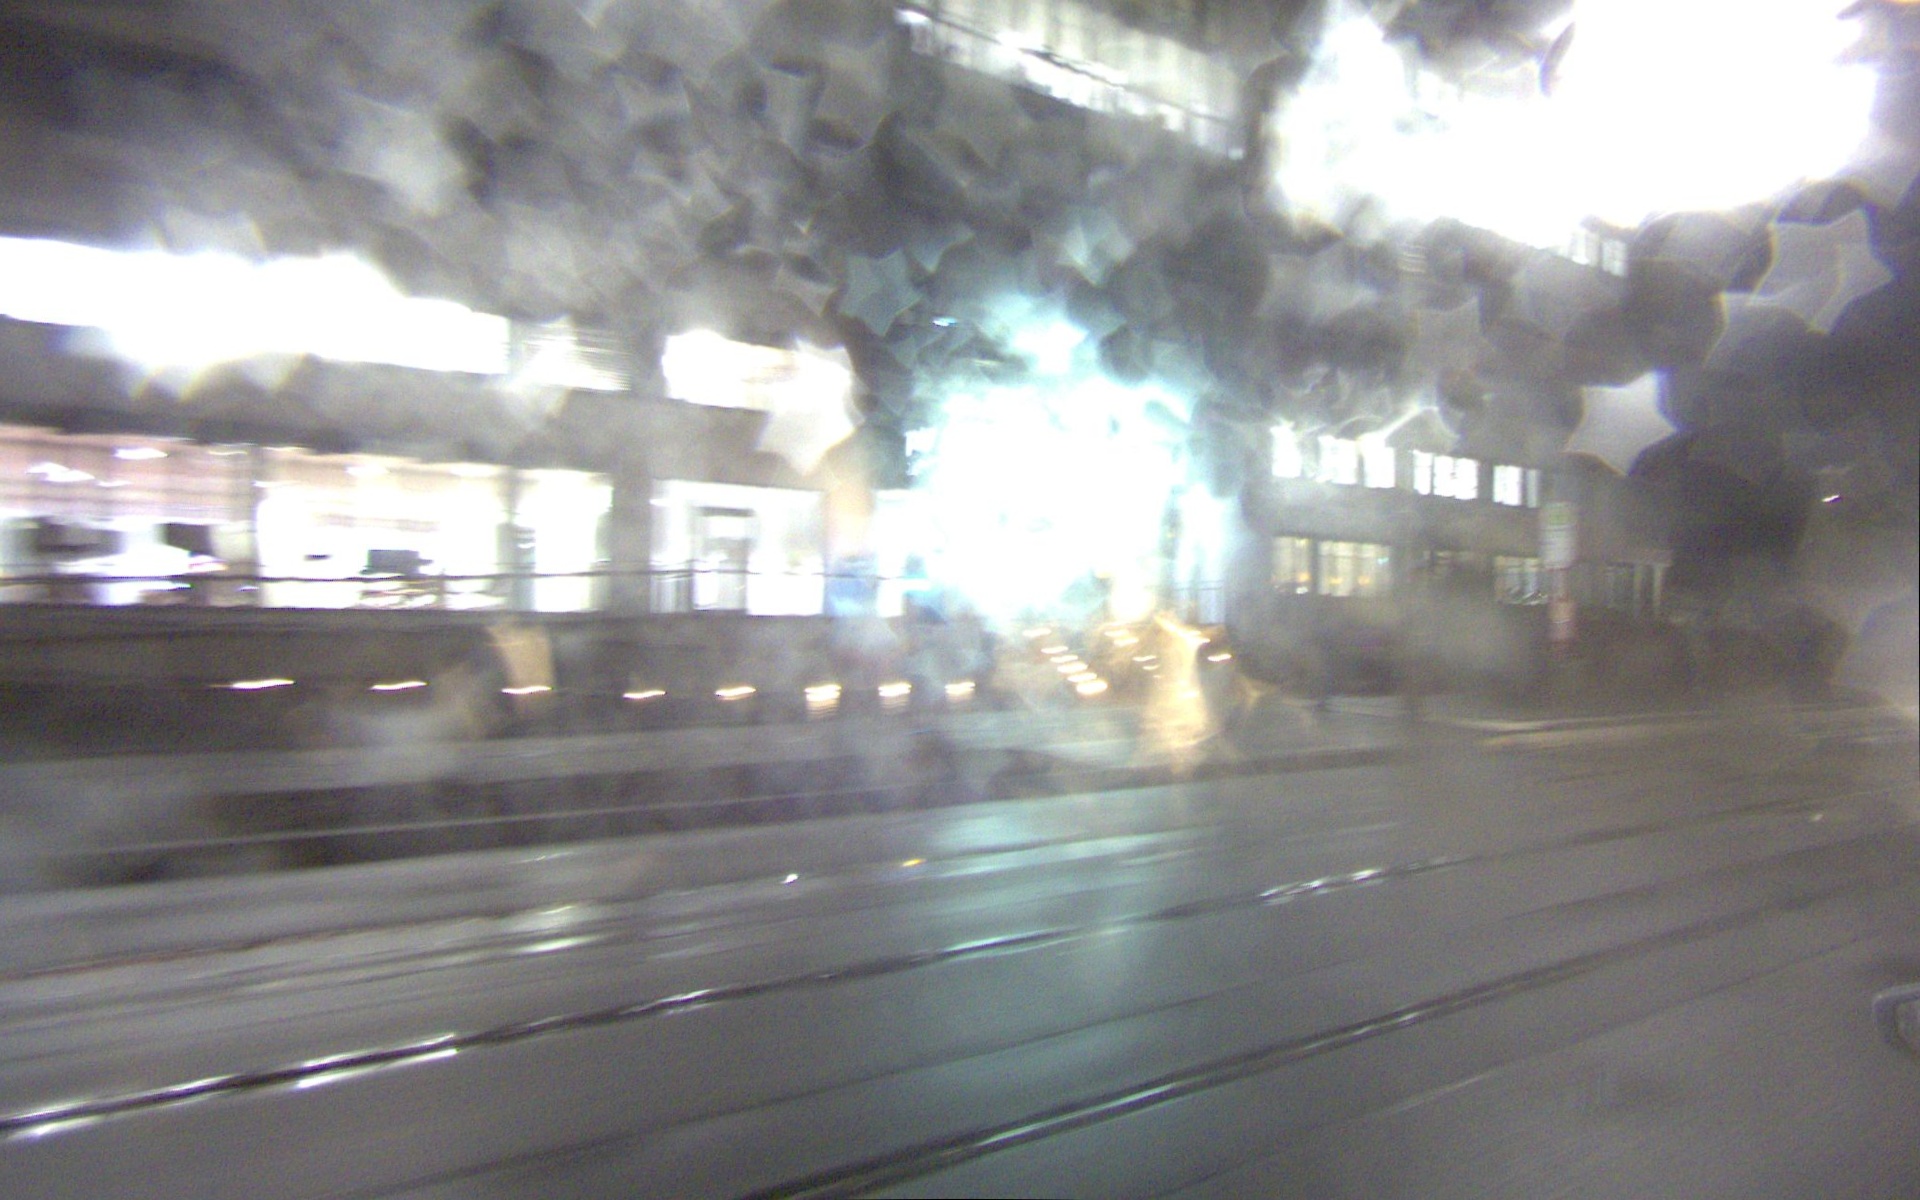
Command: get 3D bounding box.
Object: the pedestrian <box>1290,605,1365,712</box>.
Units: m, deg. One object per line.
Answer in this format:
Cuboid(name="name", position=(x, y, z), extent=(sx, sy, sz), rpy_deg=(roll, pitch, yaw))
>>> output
Cuboid(name="pedestrian", position=(6.100, 0.952, 16.683), extent=(0.872, 1.709, 0.782), rpy_deg=(2, -1, -30))
